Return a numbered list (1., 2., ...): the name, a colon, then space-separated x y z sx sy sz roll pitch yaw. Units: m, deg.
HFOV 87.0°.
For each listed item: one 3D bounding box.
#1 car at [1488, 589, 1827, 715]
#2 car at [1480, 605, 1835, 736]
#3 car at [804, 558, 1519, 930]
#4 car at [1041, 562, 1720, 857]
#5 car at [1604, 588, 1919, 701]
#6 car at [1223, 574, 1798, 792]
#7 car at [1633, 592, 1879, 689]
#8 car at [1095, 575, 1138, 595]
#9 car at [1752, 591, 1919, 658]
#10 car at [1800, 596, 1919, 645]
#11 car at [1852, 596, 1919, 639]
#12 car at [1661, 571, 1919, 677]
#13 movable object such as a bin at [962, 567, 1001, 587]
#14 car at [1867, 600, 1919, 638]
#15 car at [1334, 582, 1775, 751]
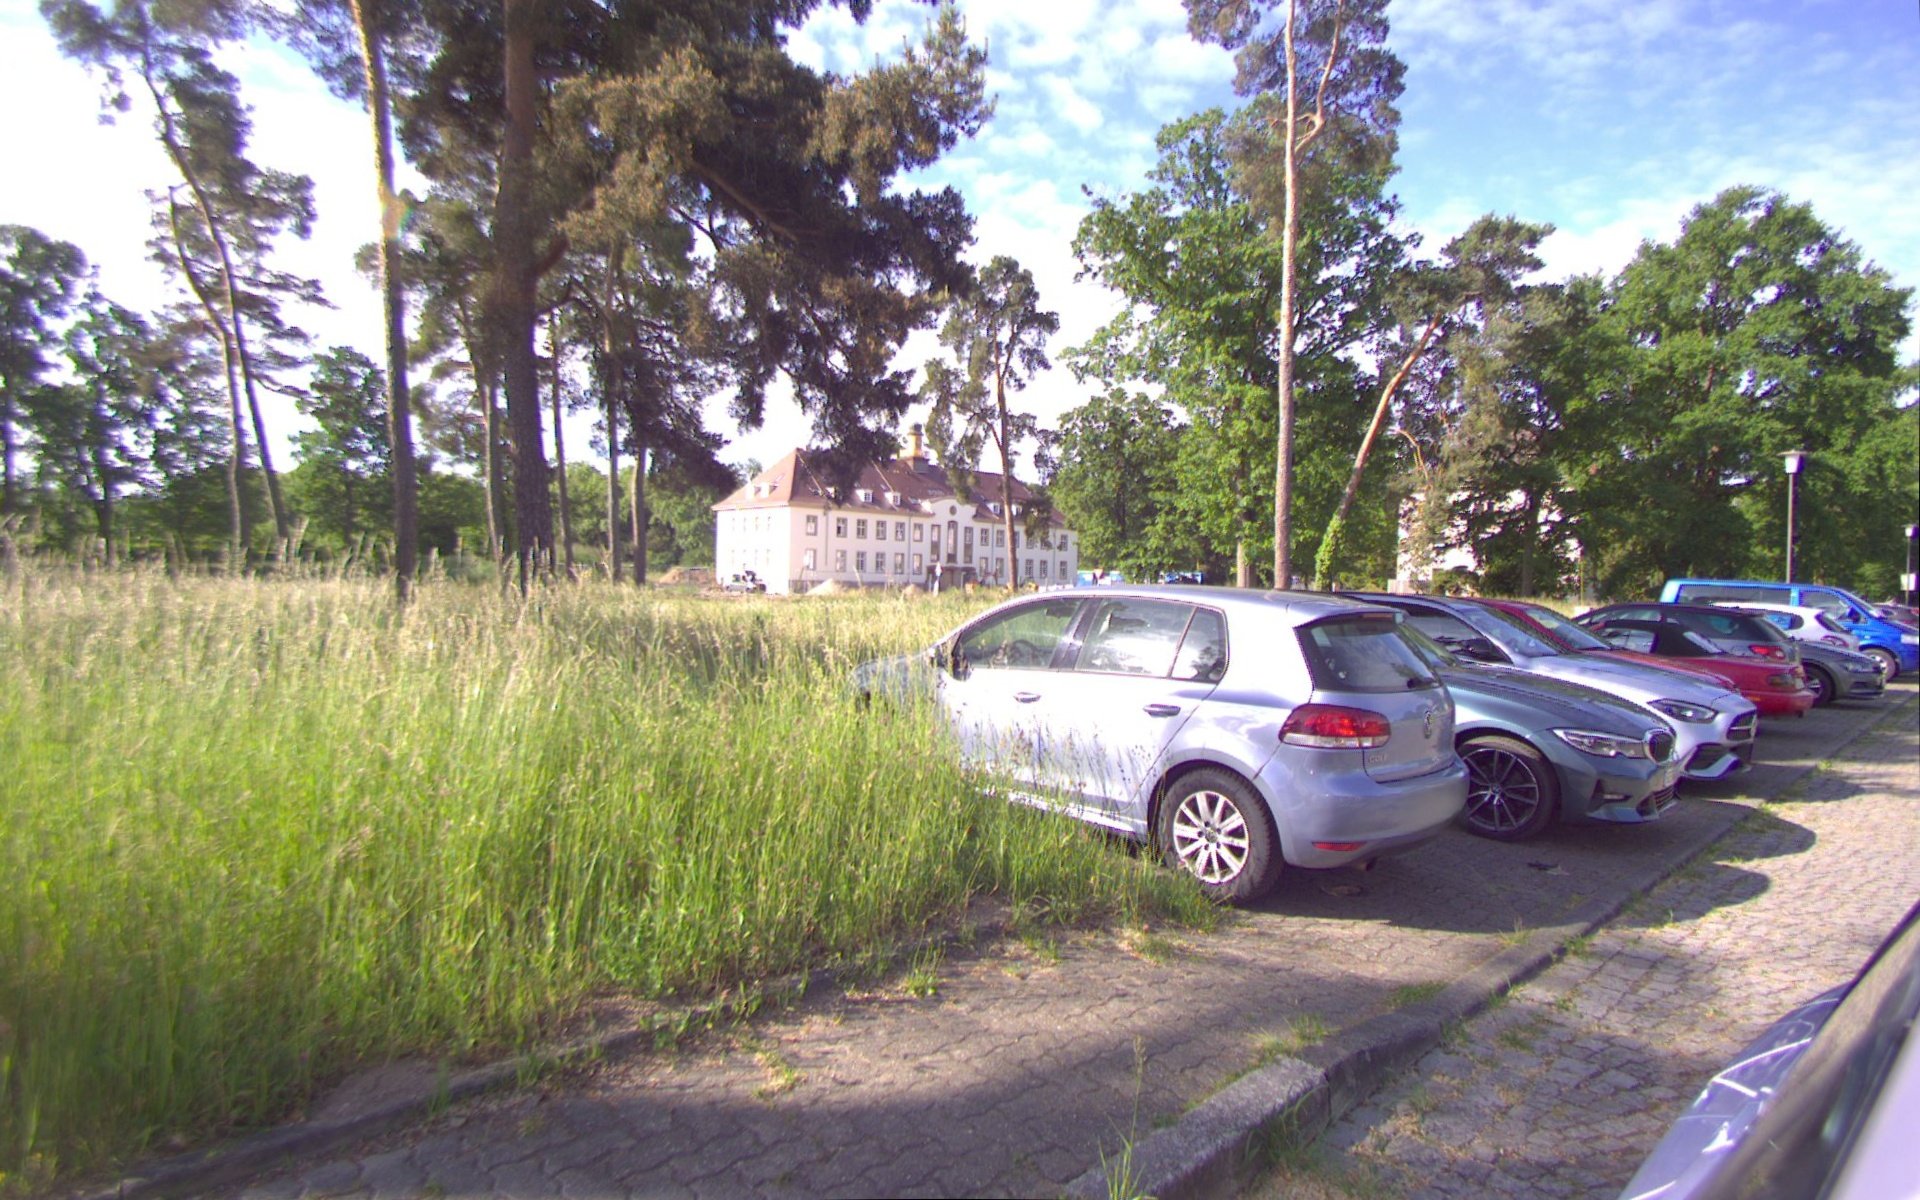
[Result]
1. car: 9.914 0.635 14.596 1.523 1.509 3.775 0 2 -42
2. car: 8.427 0.751 12.426 1.396 1.271 3.353 0 2 -42
3. car: 0.930 0.527 6.253 1.839 1.478 4.022 0 2 -42
4. car: 2.930 0.545 7.839 1.796 1.535 4.498 0 3 -45
5. car: 12.570 0.603 16.094 1.478 1.509 3.629 0 1 -32
6. car: 4.921 0.565 9.585 1.795 1.419 4.419 0 3 -42
7. car: 14.327 0.661 18.348 1.423 1.509 3.264 0 1 -39
8. car: 16.616 -1.610 107.322 4.690 2.039 1.997 0 1 -41
9. car: 24.612 0.635 27.962 1.725 1.660 3.997 0 1 -39
10. car: 31.839 0.694 35.037 1.725 1.537 3.997 0 1 -39
11. car: 39.502 0.701 41.606 1.725 1.763 3.996 0 0 -39
12. car: 18.251 0.419 21.899 1.965 2.039 4.725 0 1 -40
13. movable object such as a bin: 2.681 -2.800 124.440 1.994 2.352 4.907 2 1 44
14. car: 42.995 0.810 44.775 1.724 1.635 3.997 -1 -1 -37
15. car: 6.436 0.582 11.301 1.633 1.410 3.914 0 3 -42
